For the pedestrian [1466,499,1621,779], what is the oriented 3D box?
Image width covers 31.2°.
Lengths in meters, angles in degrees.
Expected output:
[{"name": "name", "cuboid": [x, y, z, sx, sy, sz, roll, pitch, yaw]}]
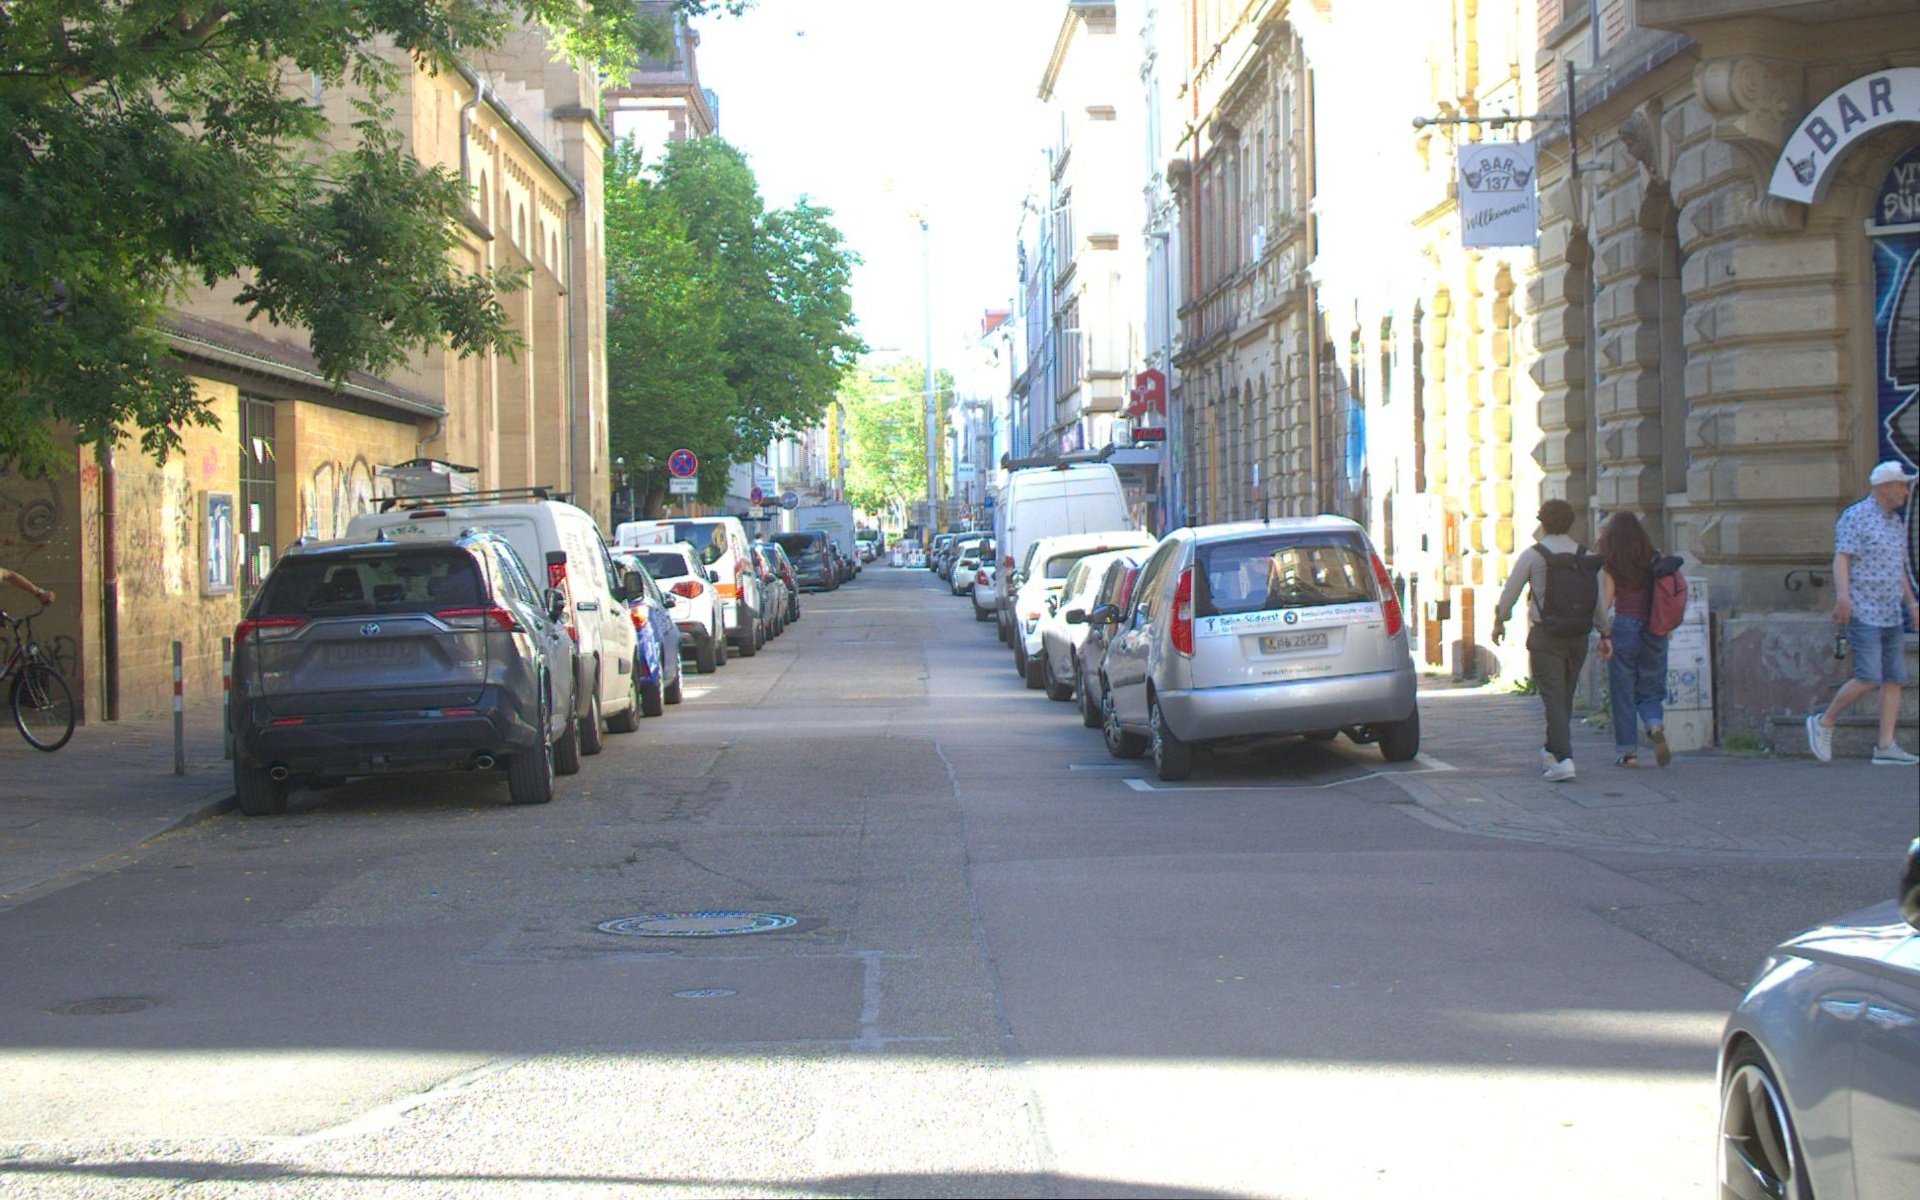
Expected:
[{"name": "pedestrian", "cuboid": [3.441, 0.220, 20.321, 0.590, 1.598, 0.727, -3, 2, -15]}]

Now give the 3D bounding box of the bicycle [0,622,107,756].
[{"name": "bicycle", "cuboid": [-7.255, 0.628, 25.165, 1.762, 0.920, 0.826, 2, 1, 8]}]

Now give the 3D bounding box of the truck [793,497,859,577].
[{"name": "truck", "cuboid": [-5.713, -2.708, 147.284, 2.532, 3.270, 6.995, -1, 1, 0]}]

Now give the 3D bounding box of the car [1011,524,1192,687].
[{"name": "car", "cuboid": [1.509, 0.030, 38.017, 1.807, 1.684, 4.214, 1, 1, 0]}]

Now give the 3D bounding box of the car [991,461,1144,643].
[{"name": "car", "cuboid": [1.580, -0.760, 52.623, 2.068, 2.602, 5.888, -1, 1, -1]}]

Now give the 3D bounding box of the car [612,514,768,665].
[{"name": "car", "cuboid": [-3.771, -0.185, 48.715, 1.864, 1.950, 4.611, -3, 1, -1]}]

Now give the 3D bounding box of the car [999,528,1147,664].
[{"name": "car", "cuboid": [1.410, -0.089, 44.146, 1.687, 1.637, 3.925, -1, 1, -1]}]

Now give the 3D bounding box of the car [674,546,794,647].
[{"name": "car", "cuboid": [-3.550, -0.090, 54.600, 1.615, 1.447, 3.950, -3, 1, -1]}]

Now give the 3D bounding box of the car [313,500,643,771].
[{"name": "car", "cuboid": [-3.598, 0.192, 26.435, 1.845, 1.856, 4.465, -1, 1, 0]}]

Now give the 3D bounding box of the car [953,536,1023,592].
[{"name": "car", "cuboid": [0.772, -1.031, 97.017, 1.897, 1.483, 3.869, -1, 1, 0]}]

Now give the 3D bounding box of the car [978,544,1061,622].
[{"name": "car", "cuboid": [1.170, -0.355, 68.463, 1.603, 1.499, 4.000, 0, 1, 1]}]

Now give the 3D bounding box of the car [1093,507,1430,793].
[{"name": "car", "cuboid": [1.943, 0.271, 23.253, 1.703, 1.708, 3.938, -2, 1, -3]}]

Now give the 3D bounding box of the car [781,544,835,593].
[{"name": "car", "cuboid": [-5.788, -1.211, 130.541, 1.875, 1.790, 4.001, -1, 1, -4]}]

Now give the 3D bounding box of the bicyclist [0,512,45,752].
[{"name": "bicyclist", "cuboid": [-7.221, 0.218, 25.137, 0.805, 1.717, 0.692, 1, 2, 8]}]

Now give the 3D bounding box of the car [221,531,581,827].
[{"name": "car", "cuboid": [-3.409, 0.406, 21.690, 1.740, 1.641, 4.290, -2, 1, -3]}]

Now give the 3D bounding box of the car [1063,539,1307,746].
[{"name": "car", "cuboid": [1.768, 0.287, 27.976, 1.535, 1.508, 3.682, -2, 1, -3]}]

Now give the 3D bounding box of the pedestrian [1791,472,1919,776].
[{"name": "pedestrian", "cuboid": [5.225, 0.133, 19.980, 0.662, 1.726, 0.575, -2, 2, 19]}]

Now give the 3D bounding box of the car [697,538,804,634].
[{"name": "car", "cuboid": [-3.645, -0.273, 60.265, 1.673, 1.553, 4.000, -2, 1, -1]}]

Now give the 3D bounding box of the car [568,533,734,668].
[{"name": "car", "cuboid": [-3.802, -0.027, 42.812, 1.742, 1.581, 3.869, -1, 1, -1]}]

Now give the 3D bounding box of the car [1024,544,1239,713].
[{"name": "car", "cuboid": [1.614, 0.228, 33.509, 1.572, 1.520, 3.909, 1, 1, -5]}]

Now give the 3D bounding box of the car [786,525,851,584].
[{"name": "car", "cuboid": [-4.459, -1.442, 109.018, 1.875, 1.790, 4.000, -1, 1, 0]}]

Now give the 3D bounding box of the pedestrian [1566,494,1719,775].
[{"name": "pedestrian", "cuboid": [4.063, 0.195, 20.496, 0.574, 1.616, 0.734, -3, 2, -15]}]

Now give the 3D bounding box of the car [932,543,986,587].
[{"name": "car", "cuboid": [-0.038, -1.348, 131.091, 1.993, 1.626, 4.000, 1, 1, 0]}]

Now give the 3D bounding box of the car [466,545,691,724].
[{"name": "car", "cuboid": [-3.523, 0.278, 32.362, 1.687, 1.471, 3.860, -3, 1, -1]}]

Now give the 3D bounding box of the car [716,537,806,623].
[{"name": "car", "cuboid": [-4.003, -0.427, 69.684, 1.600, 1.608, 3.809, -4, 1, -1]}]

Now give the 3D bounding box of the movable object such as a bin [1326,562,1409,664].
[{"name": "movable object such as a bin", "cuboid": [4.384, 0.140, 36.982, 0.548, 1.049, 0.603, -5, 2, -34]}]

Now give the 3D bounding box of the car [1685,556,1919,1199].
[{"name": "car", "cuboid": [2.220, 0.688, 4.127, 1.706, 1.454, 4.511, 0, 1, 0]}]
